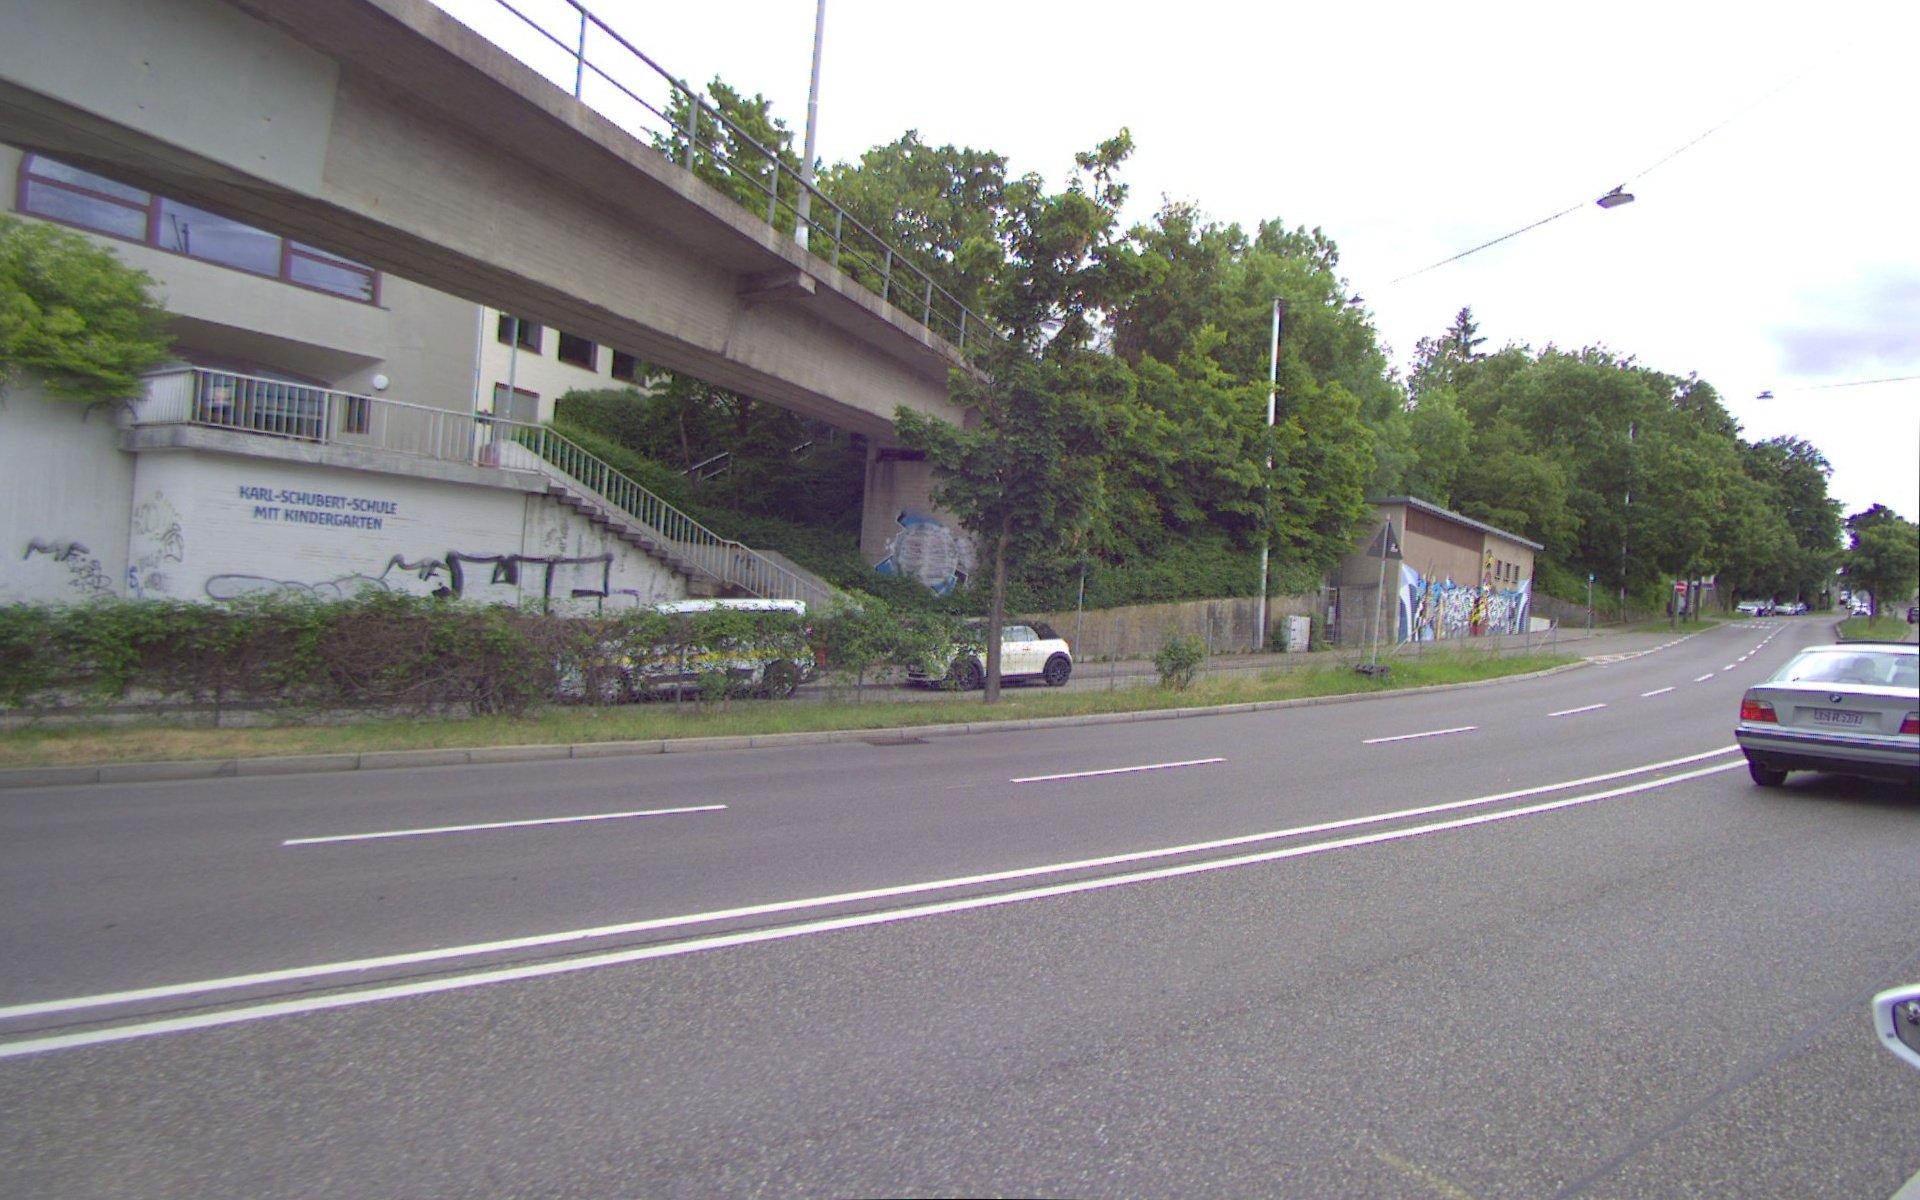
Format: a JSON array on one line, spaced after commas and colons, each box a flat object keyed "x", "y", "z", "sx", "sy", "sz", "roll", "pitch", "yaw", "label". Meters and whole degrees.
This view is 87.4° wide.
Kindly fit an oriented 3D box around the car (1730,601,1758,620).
[{"x": 78.723, "y": 1.077, "z": 100.873, "sx": 1.839, "sy": 1.693, "sz": 4.256, "roll": 6, "pitch": 4, "yaw": 42, "label": "car"}]

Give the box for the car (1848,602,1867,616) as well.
[{"x": 124.450, "y": 1.249, "z": 139.282, "sx": 1.839, "sy": 1.693, "sz": 4.254, "roll": 6, "pitch": 4, "yaw": 43, "label": "car"}]

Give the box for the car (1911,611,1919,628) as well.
[{"x": 95.314, "y": 1.927, "z": 99.338, "sx": 1.703, "sy": 1.604, "sz": 3.438, "roll": 1, "pitch": -1, "yaw": 41, "label": "car"}]

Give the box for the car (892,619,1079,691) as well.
[{"x": 0.588, "y": 1.148, "z": 21.944, "sx": 3.762, "sy": 1.438, "sz": 1.757, "roll": 1, "pitch": -1, "yaw": -33, "label": "car"}]

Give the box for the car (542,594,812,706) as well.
[{"x": -5.067, "y": 0.868, "z": 18.215, "sx": 4.416, "sy": 1.808, "sz": 1.757, "roll": 1, "pitch": -2, "yaw": -33, "label": "car"}]

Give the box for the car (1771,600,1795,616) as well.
[{"x": 94.872, "y": 0.890, "z": 115.807, "sx": 1.839, "sy": 1.615, "sz": 4.256, "roll": 6, "pitch": 4, "yaw": 42, "label": "car"}]

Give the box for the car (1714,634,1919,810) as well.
[{"x": 9.337, "y": 1.076, "z": 9.928, "sx": 4.572, "sy": 1.401, "sz": 1.624, "roll": 2, "pitch": -2, "yaw": -34, "label": "car"}]
